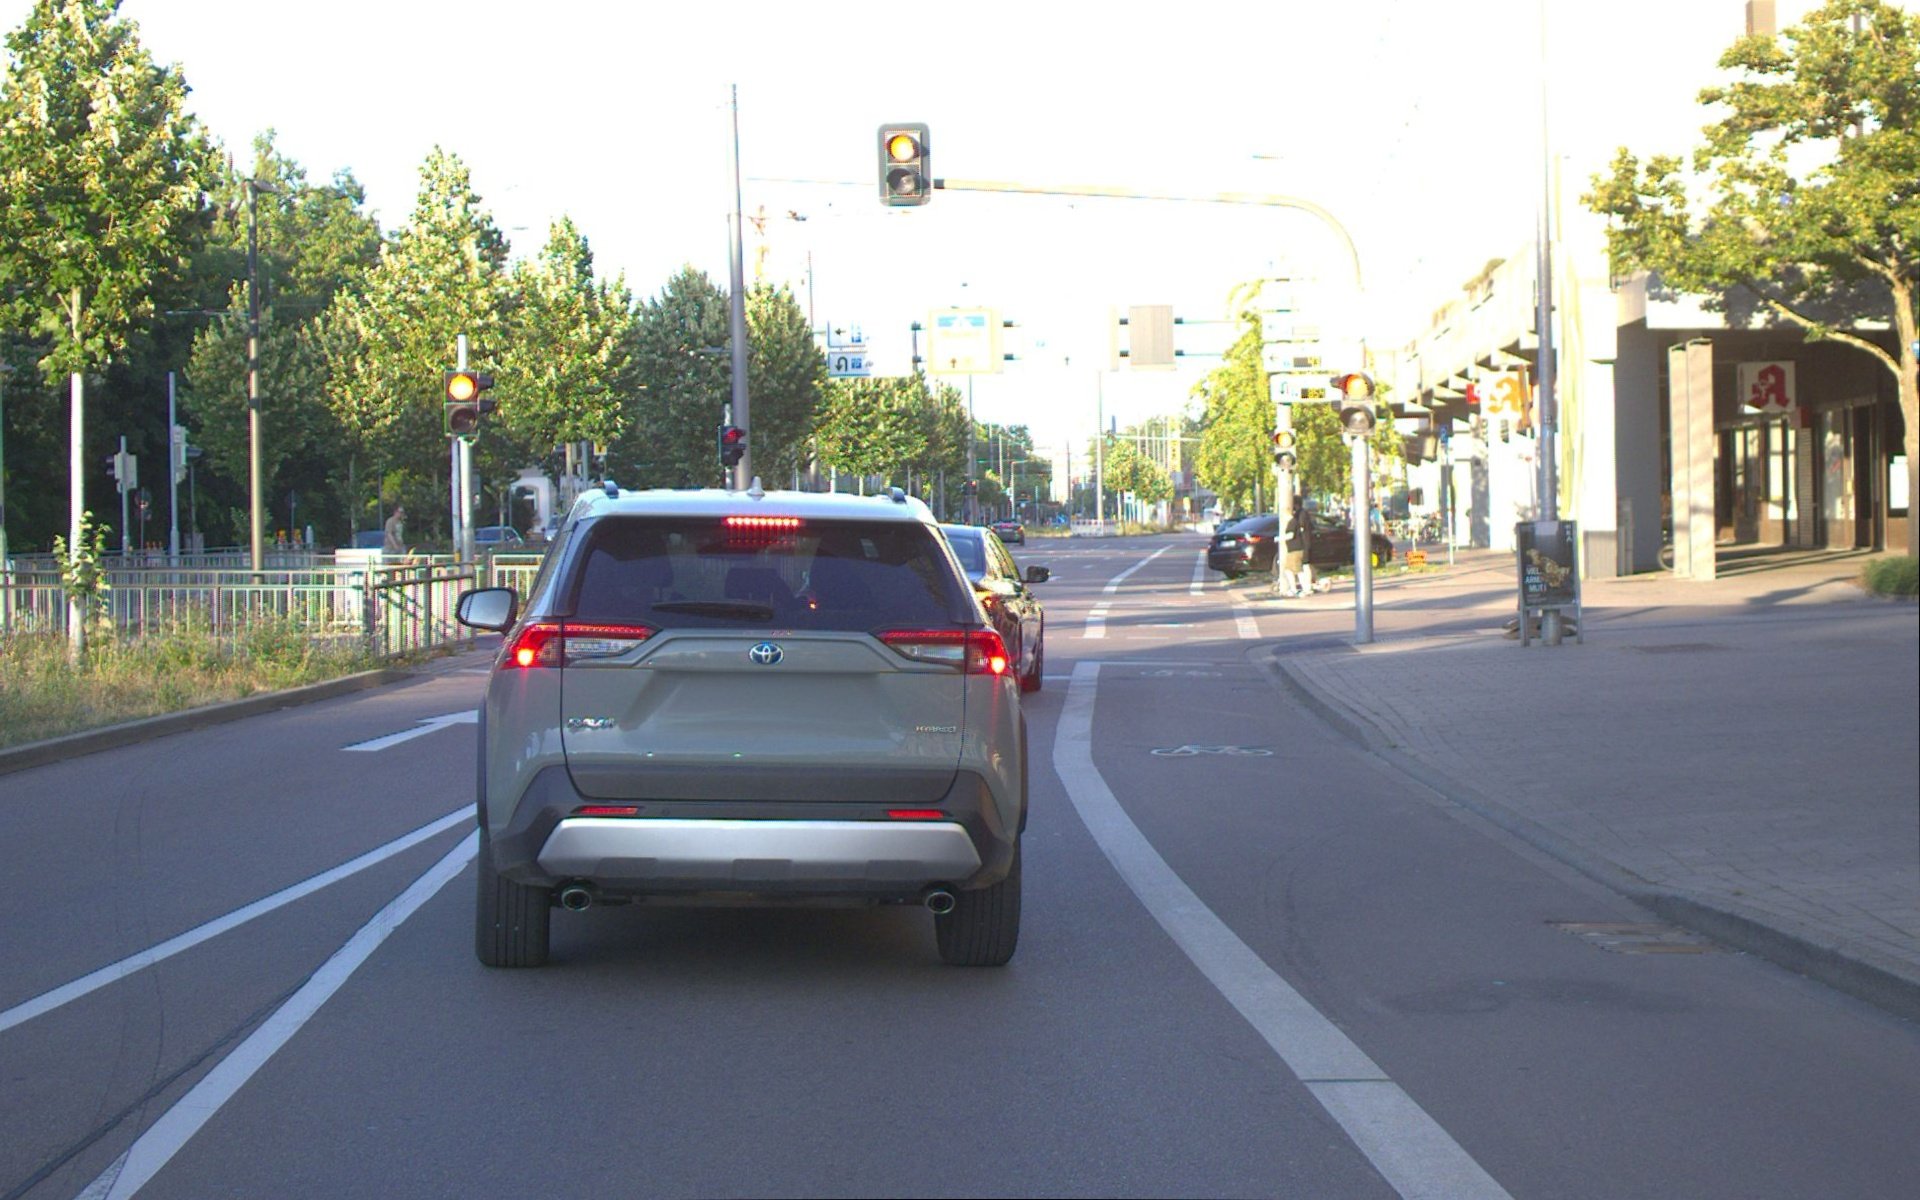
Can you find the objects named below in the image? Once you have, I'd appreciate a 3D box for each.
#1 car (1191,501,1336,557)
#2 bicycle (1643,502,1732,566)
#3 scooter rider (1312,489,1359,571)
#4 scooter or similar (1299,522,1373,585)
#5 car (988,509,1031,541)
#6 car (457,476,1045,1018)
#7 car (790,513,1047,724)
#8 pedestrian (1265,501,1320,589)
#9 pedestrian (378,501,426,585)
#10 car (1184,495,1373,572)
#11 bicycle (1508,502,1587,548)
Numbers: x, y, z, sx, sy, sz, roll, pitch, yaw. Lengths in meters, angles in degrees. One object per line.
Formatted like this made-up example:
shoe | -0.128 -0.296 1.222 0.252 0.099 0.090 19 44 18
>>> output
car | 9.511 -2.234 107.673 4.254 1.653 1.861 -1 3 -32
bicycle | 13.468 -1.226 63.687 0.688 1.145 2.024 2 1 -16
scooter rider | 7.020 -1.312 64.293 0.821 1.509 0.653 -1 1 9
scooter or similar | 7.032 -0.872 64.273 1.329 1.149 0.513 -1 1 9
car | 2.460 -3.710 169.773 1.979 1.428 4.843 0 3 2
car | -0.854 0.390 13.013 1.854 1.653 4.270 0 3 -5
car | -0.280 0.084 28.203 1.932 1.476 4.523 0 3 1
pedestrian | 6.024 -0.998 62.254 0.835 1.581 0.811 -1 1 17
pedestrian | -11.469 -1.174 70.711 0.835 1.706 0.648 -1 1 1
car | 7.363 -1.554 79.264 4.256 1.653 1.860 -2 4 -40
bicycle | 15.592 -1.991 91.244 2.017 1.145 0.690 2 1 9
